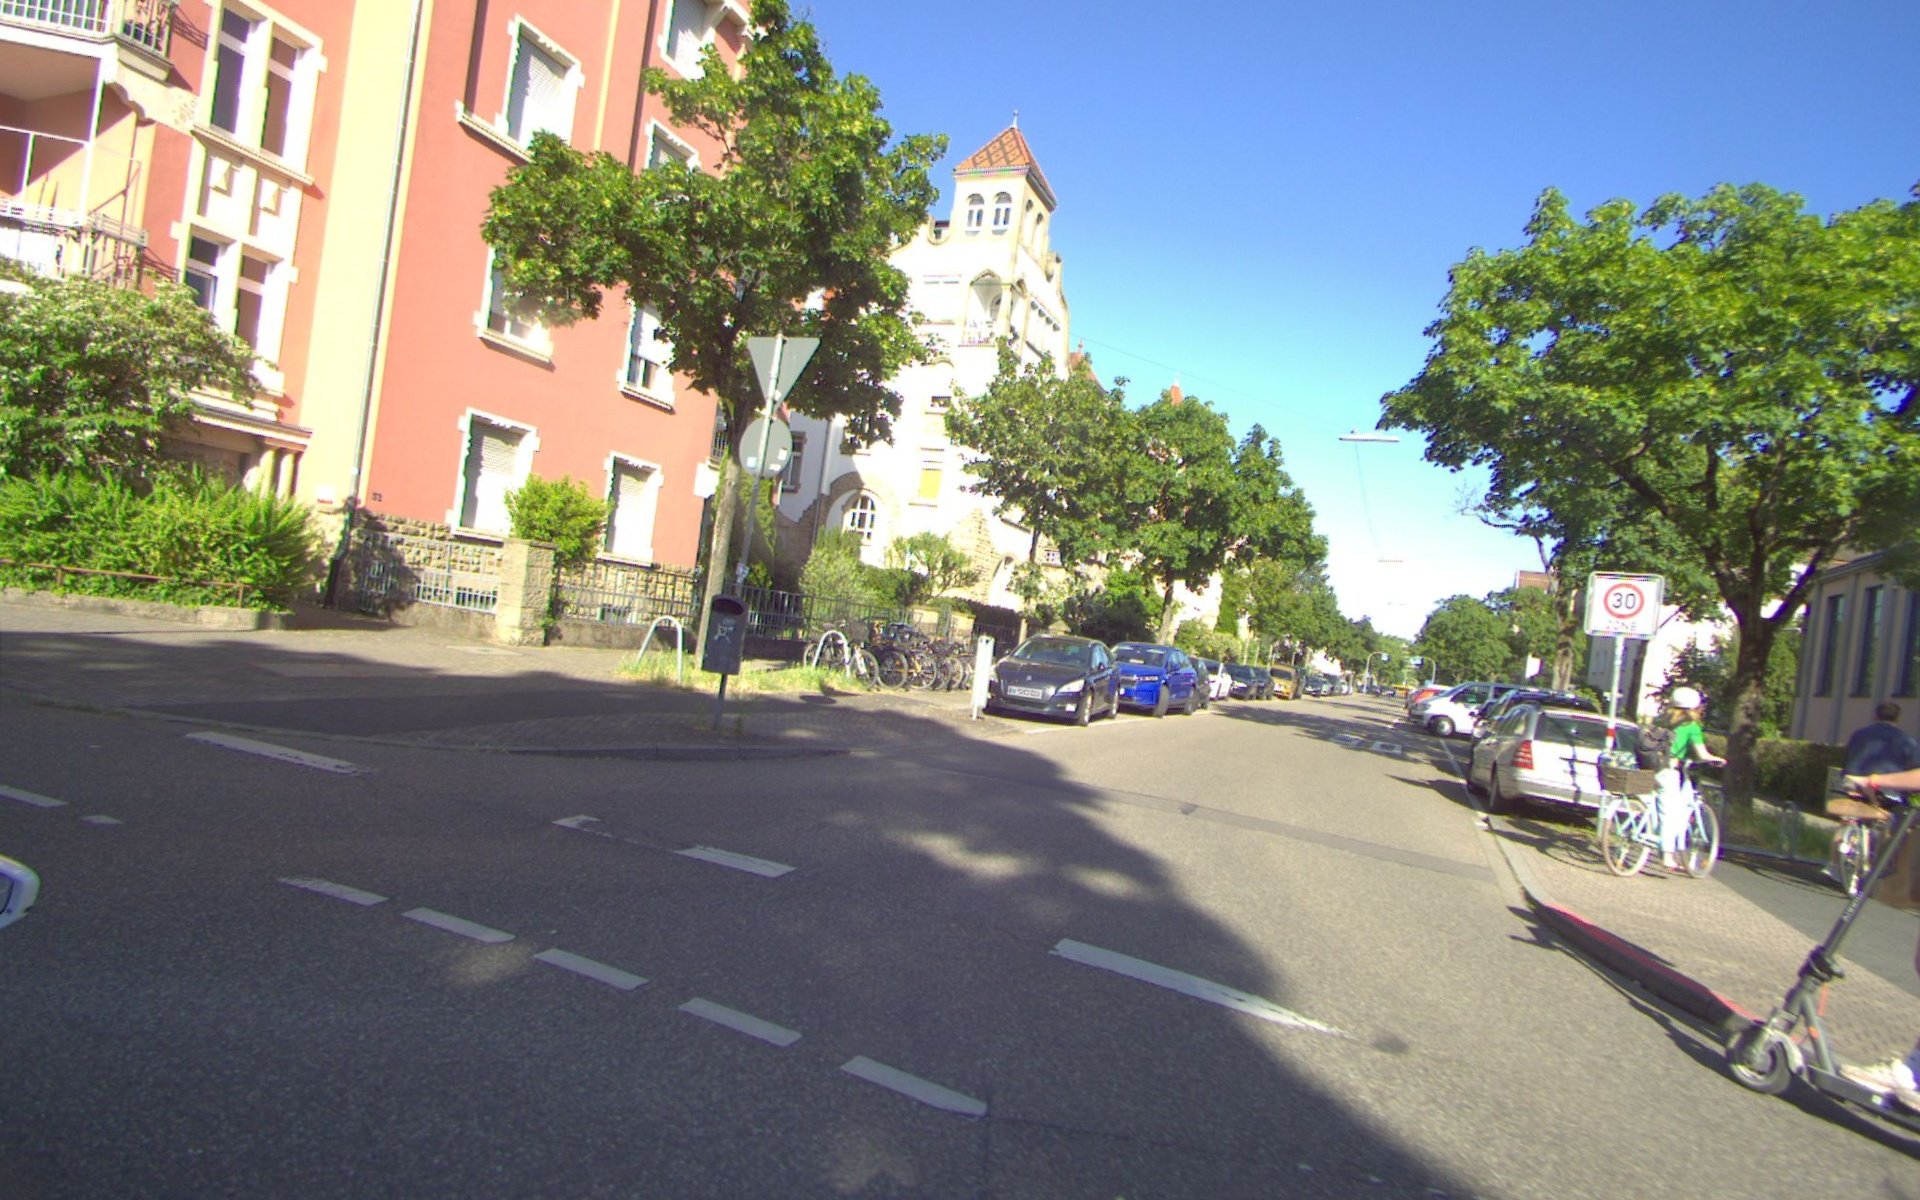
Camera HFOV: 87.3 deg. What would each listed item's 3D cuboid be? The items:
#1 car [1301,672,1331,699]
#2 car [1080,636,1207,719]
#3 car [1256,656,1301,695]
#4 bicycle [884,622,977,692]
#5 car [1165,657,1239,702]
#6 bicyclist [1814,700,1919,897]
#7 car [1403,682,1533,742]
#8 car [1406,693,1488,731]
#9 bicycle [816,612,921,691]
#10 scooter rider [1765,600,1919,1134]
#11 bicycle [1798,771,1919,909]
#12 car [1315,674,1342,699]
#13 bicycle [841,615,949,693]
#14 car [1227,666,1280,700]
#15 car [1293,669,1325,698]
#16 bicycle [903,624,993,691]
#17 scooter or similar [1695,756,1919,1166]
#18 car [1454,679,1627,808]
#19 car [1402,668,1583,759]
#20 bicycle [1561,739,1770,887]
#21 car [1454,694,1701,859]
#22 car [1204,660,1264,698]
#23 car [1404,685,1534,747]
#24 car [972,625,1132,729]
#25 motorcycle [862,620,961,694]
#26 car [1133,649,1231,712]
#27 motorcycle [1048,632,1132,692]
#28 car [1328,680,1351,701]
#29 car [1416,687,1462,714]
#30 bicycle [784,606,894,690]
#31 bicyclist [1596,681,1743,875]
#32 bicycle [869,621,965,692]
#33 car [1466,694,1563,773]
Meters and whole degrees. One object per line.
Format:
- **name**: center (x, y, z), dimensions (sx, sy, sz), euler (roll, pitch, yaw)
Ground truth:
- **car**: center (29.244, 7.019, 82.528), dimensions (1.777, 1.952, 4.398), euler (5, -2, 25)
- **car**: center (4.375, 1.802, 23.456), dimensions (1.777, 1.580, 4.398), euler (5, -2, 25)
- **car**: center (18.164, 4.299, 57.322), dimensions (1.777, 1.952, 4.398), euler (5, -2, 25)
- **bicycle**: center (-0.607, 1.162, 20.503), dimensions (1.695, 1.120, 0.501), euler (10, 1, 22)
- **car**: center (9.116, 2.967, 37.620), dimensions (1.777, 1.413, 4.398), euler (5, -2, 25)
- **bicyclist**: center (8.854, 1.891, 9.715), dimensions (0.717, 1.735, 0.639), euler (7, 0, -37)
- **car**: center (22.050, 4.835, 43.915), dimensions (4.691, 1.765, 1.810), euler (9, -1, 21)
- **car**: center (33.260, 7.624, 68.824), dimensions (4.691, 1.765, 1.810), euler (9, -1, 21)
- **bicycle**: center (-1.649, 0.919, 18.086), dimensions (1.696, 1.128, 0.546), euler (10, 1, 26)
- **scooter rider**: center (3.668, 0.973, 3.764), dimensions (0.618, 1.854, 0.628), euler (8, 0, -25)
- **bicycle**: center (8.813, 2.283, 9.724), dimensions (1.703, 1.121, 0.639), euler (8, -1, -37)
- **car**: center (32.103, 7.507, 87.601), dimensions (1.777, 1.952, 4.398), euler (5, -2, 25)
- **bicycle**: center (-1.213, 1.000, 18.800), dimensions (1.795, 1.120, 0.501), euler (10, 1, 10)
- **car**: center (14.389, 4.051, 49.156), dimensions (1.777, 1.413, 4.398), euler (5, -2, 25)
- **car**: center (26.521, 6.370, 76.377), dimensions (1.777, 1.952, 4.398), euler (5, -2, 25)
- **bicycle**: center (-0.255, 1.219, 21.417), dimensions (1.695, 1.120, 0.516), euler (10, 1, 22)
- **scooter or similar**: center (3.612, 1.350, 3.765), dimensions (0.625, 1.298, 1.099), euler (8, 0, -25)
- **car**: center (10.241, 2.433, 18.101), dimensions (1.776, 1.748, 4.341), euler (9, -1, 21)
- **car**: center (16.919, 3.578, 32.240), dimensions (4.691, 2.025, 1.810), euler (9, 0, 21)
- **bicycle**: center (6.410, 1.943, 9.126), dimensions (1.840, 1.121, 0.592), euler (8, 0, -24)
- **car**: center (7.830, 2.133, 13.233), dimensions (1.776, 1.432, 4.341), euler (9, -1, 21)
- **car**: center (12.014, 3.457, 43.953), dimensions (1.777, 1.413, 4.398), euler (5, -2, 25)
- **car**: center (18.676, 4.244, 37.114), dimensions (3.926, 1.528, 1.801), euler (9, -1, 21)
- **car**: center (1.820, 1.381, 18.403), dimensions (1.776, 1.501, 4.341), euler (5, -2, 20)
- **motorcycle**: center (-0.945, 1.088, 19.400), dimensions (1.695, 1.120, 0.501), euler (10, 1, 19)
- **car**: center (6.428, 2.297, 28.758), dimensions (1.777, 1.467, 4.398), euler (5, -2, 25)
- **motorcycle**: center (3.969, 1.895, 30.590), dimensions (2.259, 1.447, 0.949), euler (10, 0, -31)
- **car**: center (39.732, 9.449, 105.267), dimensions (1.777, 1.952, 4.398), euler (5, -2, 25)
- **car**: center (61.763, 12.910, 129.689), dimensions (4.908, 2.542, 2.001), euler (9, 0, 21)
- **bicycle**: center (-2.081, 0.815, 17.214), dimensions (1.696, 1.128, 0.546), euler (10, 1, 26)
- **bicyclist**: center (6.411, 1.604, 9.102), dimensions (0.794, 1.600, 0.592), euler (8, 1, -24)
- **bicycle**: center (-0.860, 1.114, 19.947), dimensions (1.695, 1.120, 0.501), euler (10, 1, 19)
- **car**: center (13.767, 3.265, 25.127), dimensions (1.778, 1.491, 4.336), euler (9, -1, 28)
